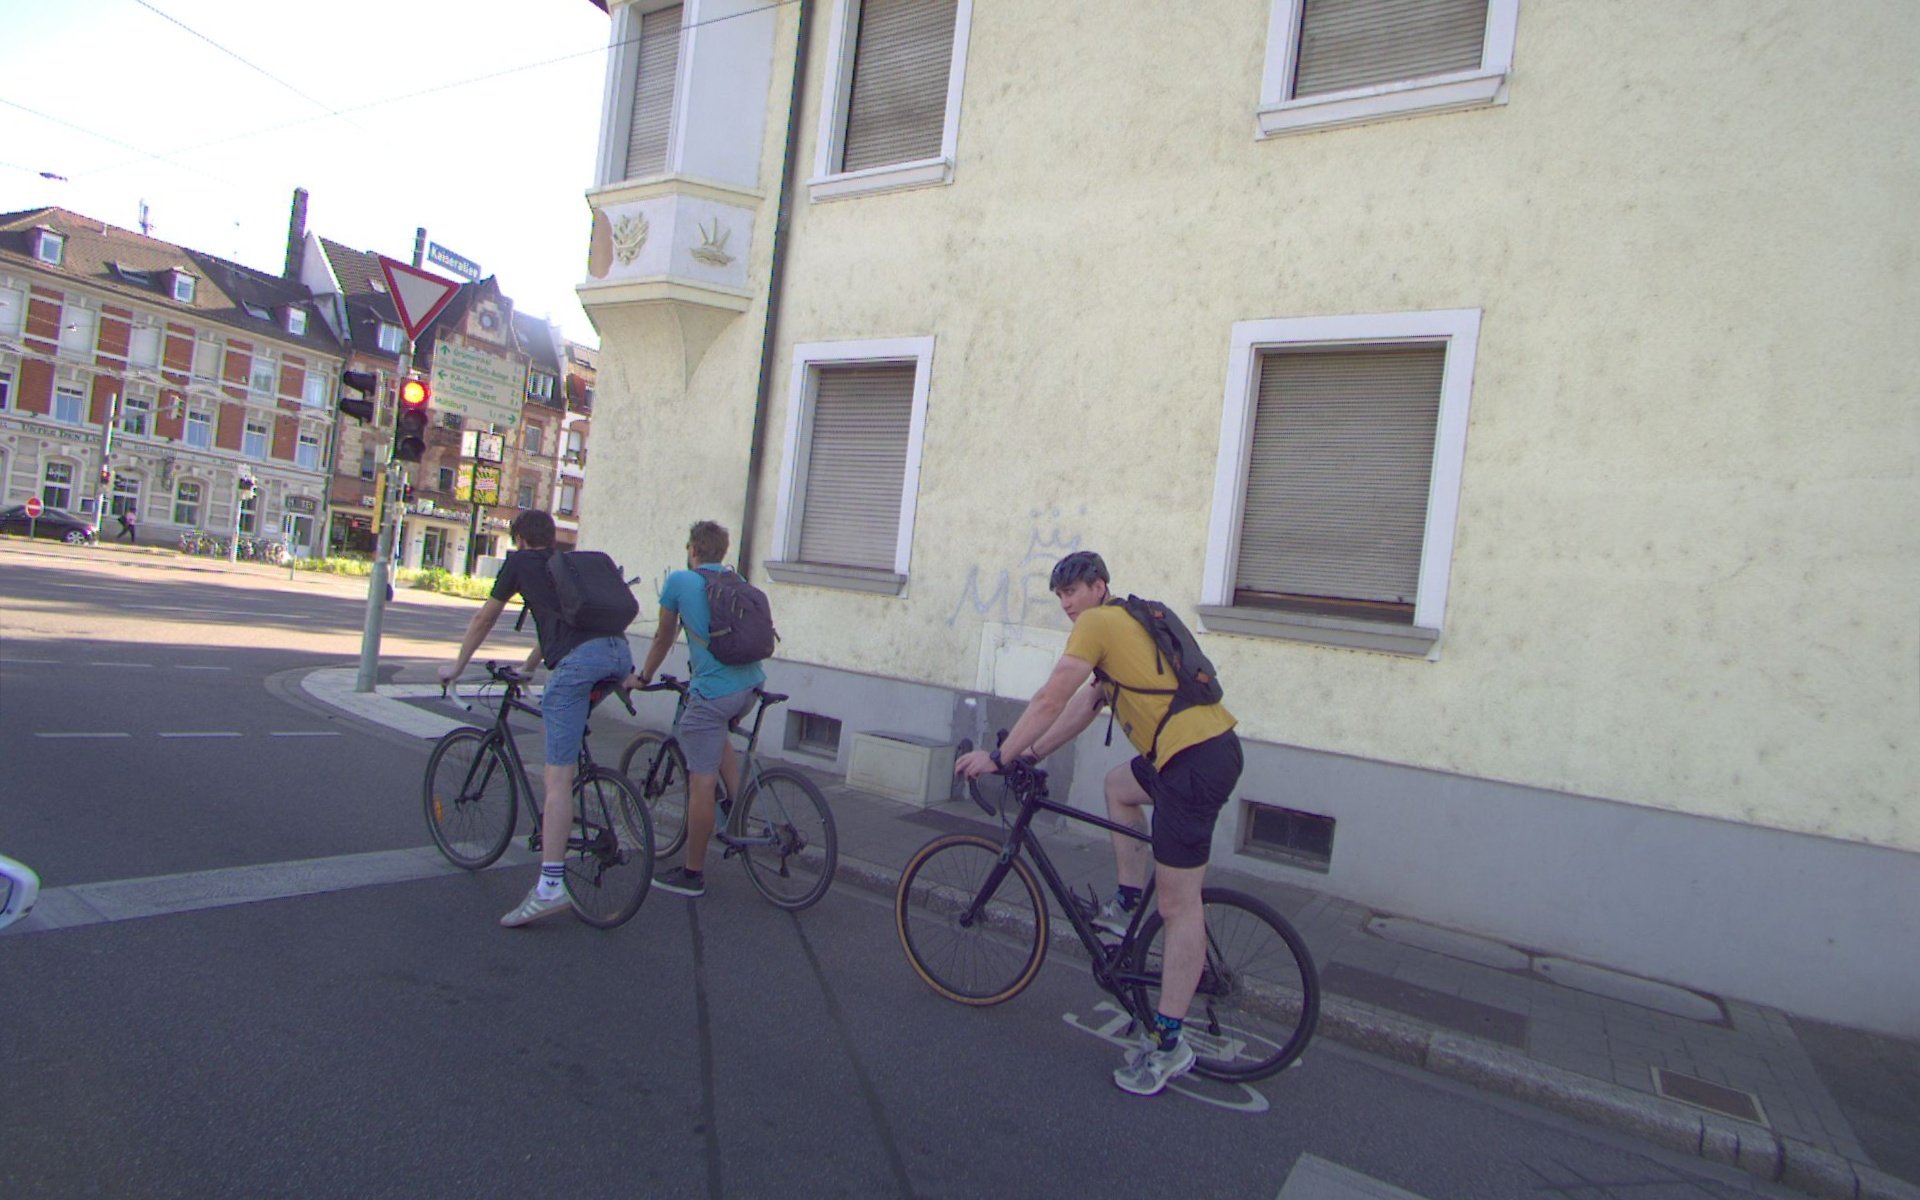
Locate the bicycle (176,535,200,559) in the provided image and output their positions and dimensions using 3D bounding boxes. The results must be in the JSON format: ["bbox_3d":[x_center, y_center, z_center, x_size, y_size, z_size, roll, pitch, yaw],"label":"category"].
[{"bbox_3d":[-35.061,-2.413,45.666,1.759,0.925,0.485,7,0,42],"label":"bicycle"}]

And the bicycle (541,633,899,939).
[{"bbox_3d":[-1.305,0.880,5.282,1.858,1.180,0.571,7,0,32],"label":"bicycle"}]

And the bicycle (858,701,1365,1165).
[{"bbox_3d":[0.517,1.093,3.774,1.670,1.180,0.571,7,0,32],"label":"bicycle"}]

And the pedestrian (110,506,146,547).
[{"bbox_3d":[-38.467,-3.378,46.504,0.620,1.731,1.035,6,-1,40],"label":"pedestrian"}]

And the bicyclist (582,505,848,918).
[{"bbox_3d":[-1.282,0.527,5.272,0.978,1.910,0.652,7,0,32],"label":"bicyclist"}]

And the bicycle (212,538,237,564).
[{"bbox_3d":[-34.185,-2.291,46.748,1.759,1.033,0.485,7,0,42],"label":"bicycle"}]

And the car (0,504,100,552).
[{"bbox_3d":[-34.650,-2.761,37.220,1.699,1.316,4.054,7,-1,42],"label":"car"}]

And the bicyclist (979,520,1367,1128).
[{"bbox_3d":[0.776,0.700,3.658,1.019,1.839,0.652,7,0,32],"label":"bicyclist"}]

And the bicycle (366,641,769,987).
[{"bbox_3d":[-1.795,0.838,4.469,1.858,1.071,0.571,7,0,32],"label":"bicycle"}]

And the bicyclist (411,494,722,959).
[{"bbox_3d":[-1.746,0.495,4.471,0.978,1.788,0.652,7,0,32],"label":"bicyclist"}]

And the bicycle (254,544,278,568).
[{"bbox_3d":[-33.307,-2.113,48.292,1.759,1.033,0.485,7,0,42],"label":"bicycle"}]

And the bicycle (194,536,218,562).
[{"bbox_3d":[-34.636,-2.340,46.202,1.759,1.033,0.485,7,0,42],"label":"bicycle"}]

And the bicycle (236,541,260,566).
[{"bbox_3d":[-33.671,-2.190,47.564,1.759,1.033,0.485,7,0,42],"label":"bicycle"}]

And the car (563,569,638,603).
[{"bbox_3d":[-23.270,-0.895,65.289,1.966,1.641,4.261,7,-1,29],"label":"car"}]

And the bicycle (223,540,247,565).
[{"bbox_3d":[-33.998,-2.249,47.172,1.759,1.033,0.485,7,0,42],"label":"bicycle"}]

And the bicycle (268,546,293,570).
[{"bbox_3d":[-33.088,-2.057,48.979,1.759,1.033,0.485,7,0,42],"label":"bicycle"}]
